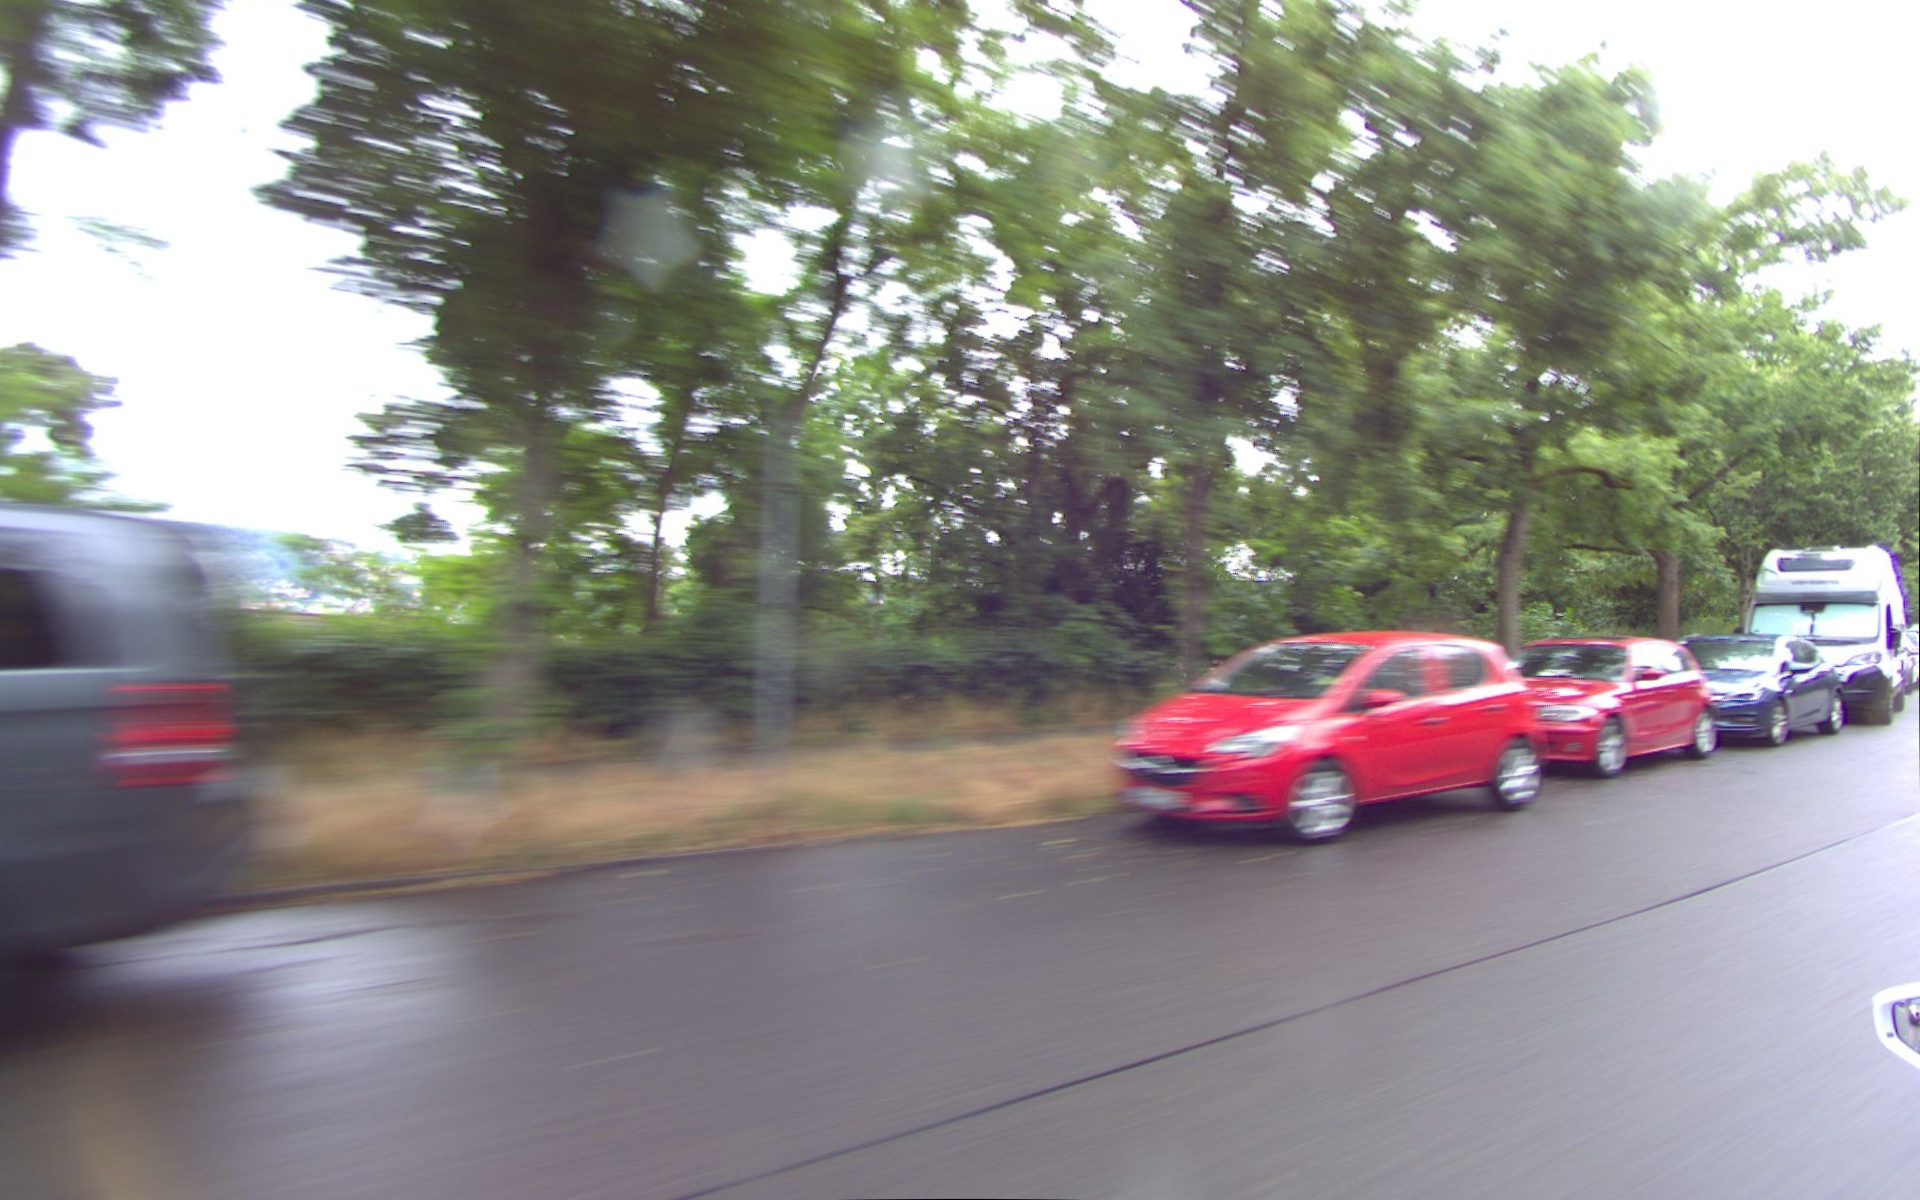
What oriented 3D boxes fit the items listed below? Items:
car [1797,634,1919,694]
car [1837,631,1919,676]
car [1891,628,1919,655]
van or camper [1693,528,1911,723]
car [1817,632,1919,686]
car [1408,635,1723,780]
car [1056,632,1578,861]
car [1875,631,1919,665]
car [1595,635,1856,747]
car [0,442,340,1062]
[{"bbox_3d":[23.694,1.605,26.423,5.318,1.326,1.974,1,-1,-44],"label":"car"},{"bbox_3d":[31.555,1.796,34.279,4.680,1.423,1.975,2,-2,-43],"label":"car"},{"bbox_3d":[55.295,2.413,58.233,4.226,1.456,1.673,2,-1,-43],"label":"car"},{"bbox_3d":[16.100,0.556,19.038,6.519,3.066,2.481,2,-4,-45],"label":"van or camper"},{"bbox_3d":[27.877,1.738,30.663,4.677,1.424,1.976,1,-1,-41],"label":"car"},{"bbox_3d":[7.170,1.149,11.842,3.509,1.426,1.942,1,-3,-36],"label":"car"},{"bbox_3d":[3.184,1.035,8.633,4.528,1.480,1.942,1,-3,-34],"label":"car"},{"bbox_3d":[42.030,2.133,44.687,1.737,1.421,4.391,0,-1,45],"label":"car"},{"bbox_3d":[11.429,1.248,14.926,4.166,1.426,1.942,1,-3,-36],"label":"car"},{"bbox_3d":[-5.082,0.525,3.338,4.936,1.993,1.948,1,-4,-27],"label":"car"}]
